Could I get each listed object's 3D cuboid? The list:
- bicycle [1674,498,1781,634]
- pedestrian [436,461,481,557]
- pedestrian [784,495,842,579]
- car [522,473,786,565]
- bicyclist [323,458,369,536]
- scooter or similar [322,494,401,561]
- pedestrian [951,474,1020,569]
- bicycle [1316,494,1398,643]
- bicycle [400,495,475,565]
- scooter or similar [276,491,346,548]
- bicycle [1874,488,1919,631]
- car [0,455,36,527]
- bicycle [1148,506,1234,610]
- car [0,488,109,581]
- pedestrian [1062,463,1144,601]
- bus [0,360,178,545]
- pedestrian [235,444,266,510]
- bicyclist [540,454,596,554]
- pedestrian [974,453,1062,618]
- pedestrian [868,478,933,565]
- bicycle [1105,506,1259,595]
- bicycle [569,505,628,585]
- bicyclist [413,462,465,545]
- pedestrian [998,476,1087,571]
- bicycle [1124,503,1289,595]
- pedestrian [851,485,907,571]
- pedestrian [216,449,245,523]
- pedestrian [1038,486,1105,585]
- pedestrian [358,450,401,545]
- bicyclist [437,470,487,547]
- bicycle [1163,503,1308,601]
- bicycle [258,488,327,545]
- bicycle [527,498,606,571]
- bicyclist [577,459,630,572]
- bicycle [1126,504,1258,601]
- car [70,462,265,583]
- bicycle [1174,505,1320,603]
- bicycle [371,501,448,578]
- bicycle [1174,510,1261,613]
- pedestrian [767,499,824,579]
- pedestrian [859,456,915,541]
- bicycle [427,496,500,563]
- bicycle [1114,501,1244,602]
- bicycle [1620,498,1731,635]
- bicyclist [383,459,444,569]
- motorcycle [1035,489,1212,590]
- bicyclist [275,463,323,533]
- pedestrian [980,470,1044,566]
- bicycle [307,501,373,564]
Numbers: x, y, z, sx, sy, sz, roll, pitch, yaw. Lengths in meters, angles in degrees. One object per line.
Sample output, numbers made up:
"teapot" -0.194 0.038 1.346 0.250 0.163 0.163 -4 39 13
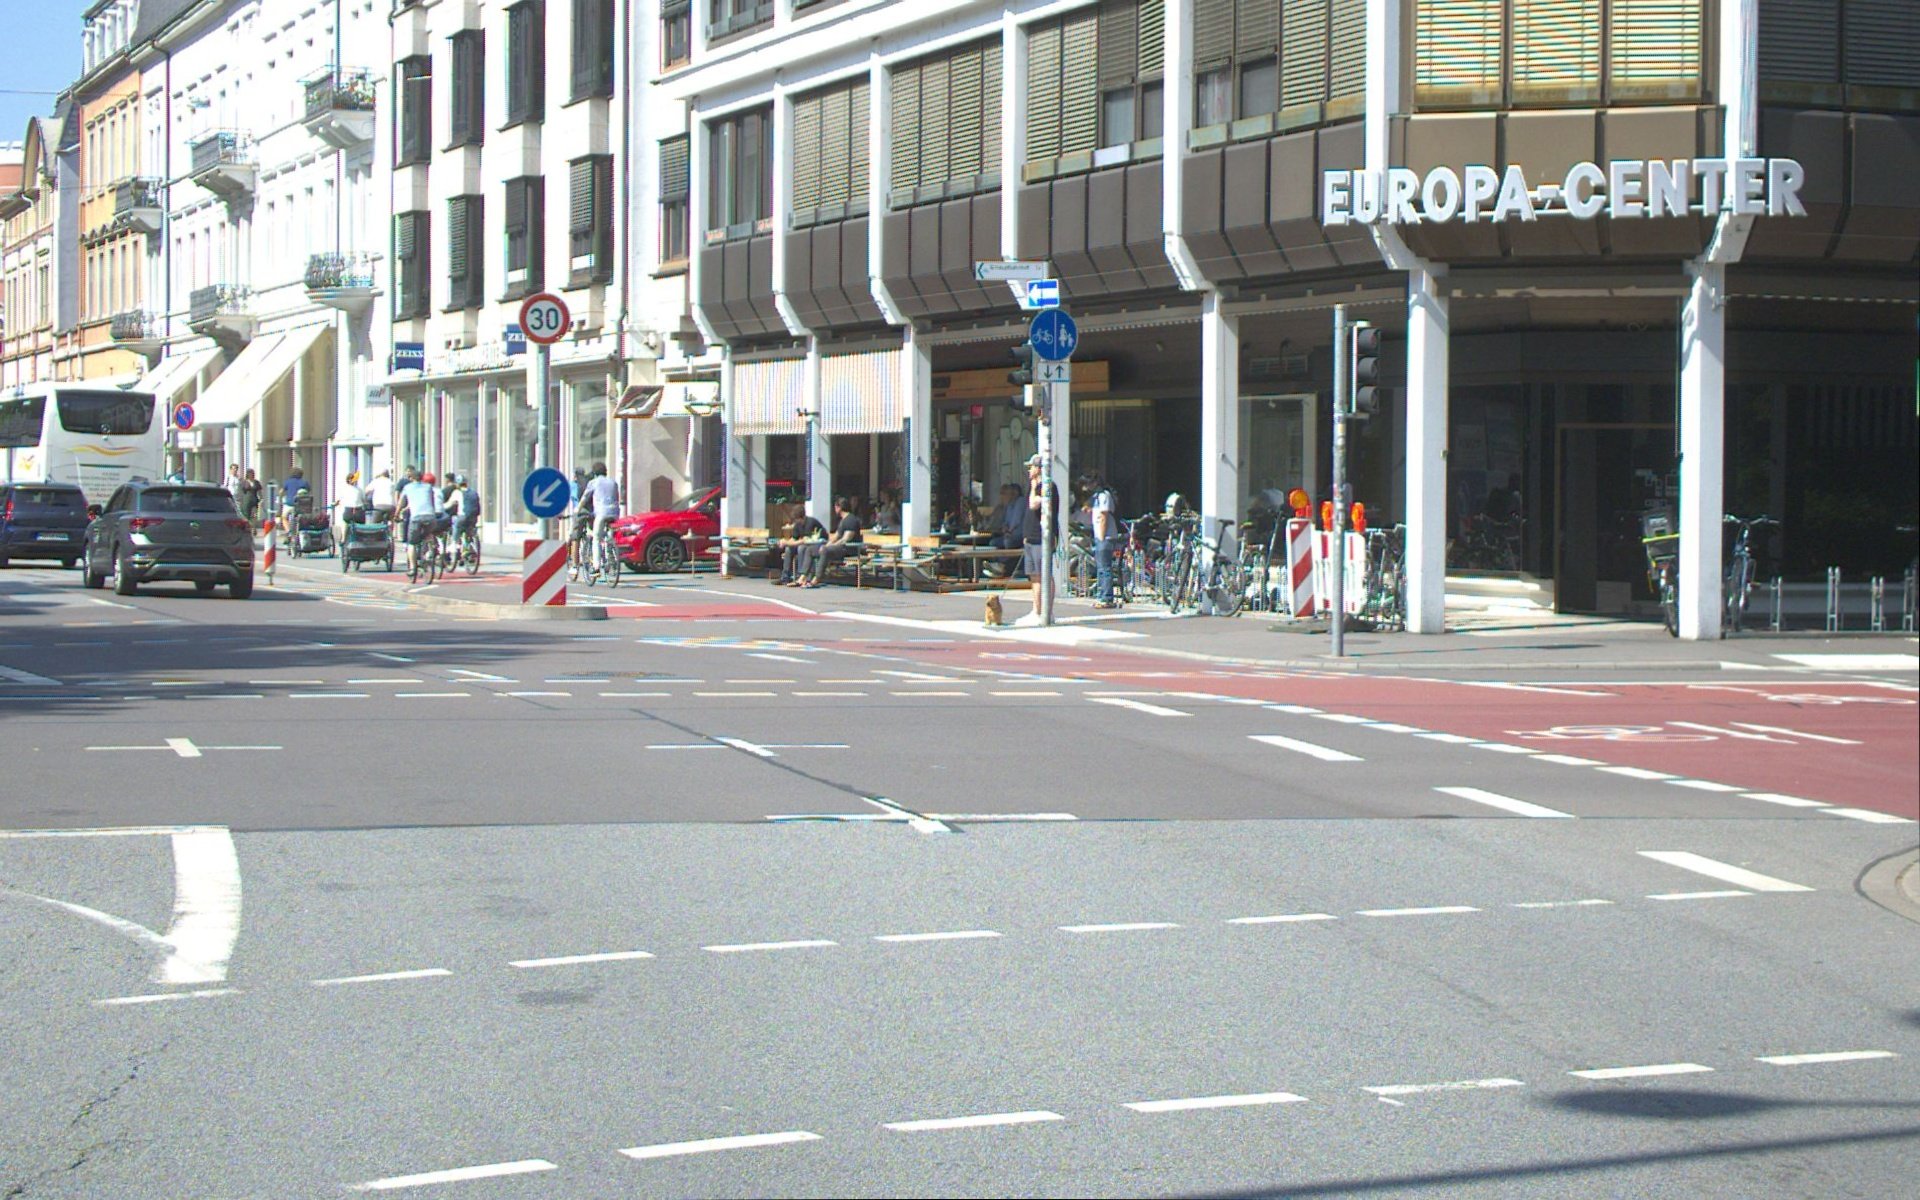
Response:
"bicycle" 7.829 -0.363 35.021 0.530 1.312 1.856 2 3 29
"pedestrian" -9.118 -1.653 62.494 0.620 1.714 0.836 0 2 -22
"pedestrian" -2.126 -0.912 49.712 0.711 1.212 0.697 0 1 -13
"car" -5.129 -1.355 57.569 4.043 1.489 1.842 -1 0 -20
"bicyclist" -10.920 -1.827 61.136 0.620 1.366 0.781 0 2 -24
"scooter or similar" -10.406 -1.263 59.745 0.961 1.131 1.586 0 2 -25
"pedestrian" 0.380 -1.165 51.100 0.813 1.392 0.697 0 1 -24
"bicycle" 4.294 -0.345 37.124 0.376 1.059 1.473 0 27 24
"bicycle" -8.571 -1.157 56.351 0.620 1.095 2.353 0 2 -24
"scooter or similar" -12.718 -1.583 67.349 1.121 1.098 1.086 0 2 -24
"bicycle" 10.111 -0.445 36.029 0.530 1.417 1.964 2 3 29
"car" -26.129 -2.959 92.094 1.827 1.857 4.355 1 2 -26
"bicycle" 2.628 -0.495 39.310 0.276 1.116 2.244 0 2 -14
"car" -16.074 -1.147 60.048 1.832 1.522 4.001 -2 2 -21
"pedestrian" 1.731 -0.825 41.730 0.832 1.657 0.697 -1 1 -14
"bus" -20.229 -3.296 77.278 2.881 3.729 12.430 2 2 -23
"pedestrian" -17.573 -3.046 85.129 0.645 1.611 0.822 0 1 -19
"bicyclist" -6.048 -1.475 53.070 0.620 1.524 0.869 0 2 -23
"pedestrian" 0.641 -0.726 38.522 0.832 1.829 0.697 0 1 -13
"pedestrian" -0.947 -1.254 54.745 0.877 1.363 0.537 0 2 -23
"bicycle" 2.784 -0.627 42.982 2.236 1.093 0.277 -1 3 -35
"bicycle" -5.262 -0.809 49.991 0.594 1.116 1.802 0 2 -14
"bicyclist" -8.525 -1.580 56.255 0.620 1.350 0.847 0 2 -24
"pedestrian" 1.184 -1.097 49.280 0.895 1.346 1.106 -1 1 -23
"bicycle" 3.050 -0.627 42.421 2.236 1.116 0.277 0 2 -29
"pedestrian" -1.300 -1.159 55.102 0.760 1.363 0.478 0 2 -23
"pedestrian" -17.835 -2.783 84.038 0.573 1.772 1.020 -1 1 -19
"pedestrian" 1.565 -0.907 48.400 0.711 1.392 0.697 -1 1 -23
"pedestrian" -10.627 -1.875 62.898 0.620 1.713 0.836 0 2 -21
"bicyclist" -8.482 -1.561 58.544 0.620 1.292 0.867 0 2 -24
"bicycle" 3.270 -0.575 40.826 1.716 1.116 0.278 -1 2 -15
"bicycle" -13.395 -1.683 68.932 0.837 1.095 2.353 0 2 -24
"bicycle" -6.096 -1.024 53.189 0.620 1.095 2.353 0 2 -22
"bicyclist" -5.164 -1.227 49.737 0.694 1.620 0.836 0 2 -10
"bicycle" 2.782 -0.576 41.199 1.570 1.116 0.278 -1 2 -15
"car" -10.815 -1.047 46.715 1.832 1.522 4.001 2 1 -24
"bicycle" 3.380 -0.548 40.445 1.716 1.116 0.278 -1 2 -15
"bicycle" -8.642 -0.961 53.916 0.664 1.116 2.244 2 2 -22
"bicycle" 2.940 -0.458 39.451 0.276 1.116 2.244 0 2 -14
"pedestrian" -2.422 -0.901 50.517 0.711 1.169 0.697 0 1 -13
"pedestrian" -1.182 -1.649 55.722 0.744 1.363 0.584 0 2 -23
"bicycle" -8.464 -1.212 58.511 0.620 1.095 2.353 0 2 -24
"bicycle" 2.648 -0.586 41.543 1.545 1.202 0.278 0 2 -15
"bicycle" 7.342 -0.362 35.228 0.530 1.312 1.964 2 3 29
"bicyclist" -8.565 -1.357 53.866 0.694 1.667 0.916 2 2 -21
"motorcycle" 2.134 -0.787 44.698 2.236 1.286 0.948 0 1 6
"bicyclist" -13.175 -2.031 68.532 0.787 1.374 0.723 0 2 -24
"pedestrian" 0.761 -1.191 50.345 0.711 1.392 0.697 -1 1 -23
"bicycle" -11.136 -1.220 61.666 0.620 1.095 2.353 0 2 -24
